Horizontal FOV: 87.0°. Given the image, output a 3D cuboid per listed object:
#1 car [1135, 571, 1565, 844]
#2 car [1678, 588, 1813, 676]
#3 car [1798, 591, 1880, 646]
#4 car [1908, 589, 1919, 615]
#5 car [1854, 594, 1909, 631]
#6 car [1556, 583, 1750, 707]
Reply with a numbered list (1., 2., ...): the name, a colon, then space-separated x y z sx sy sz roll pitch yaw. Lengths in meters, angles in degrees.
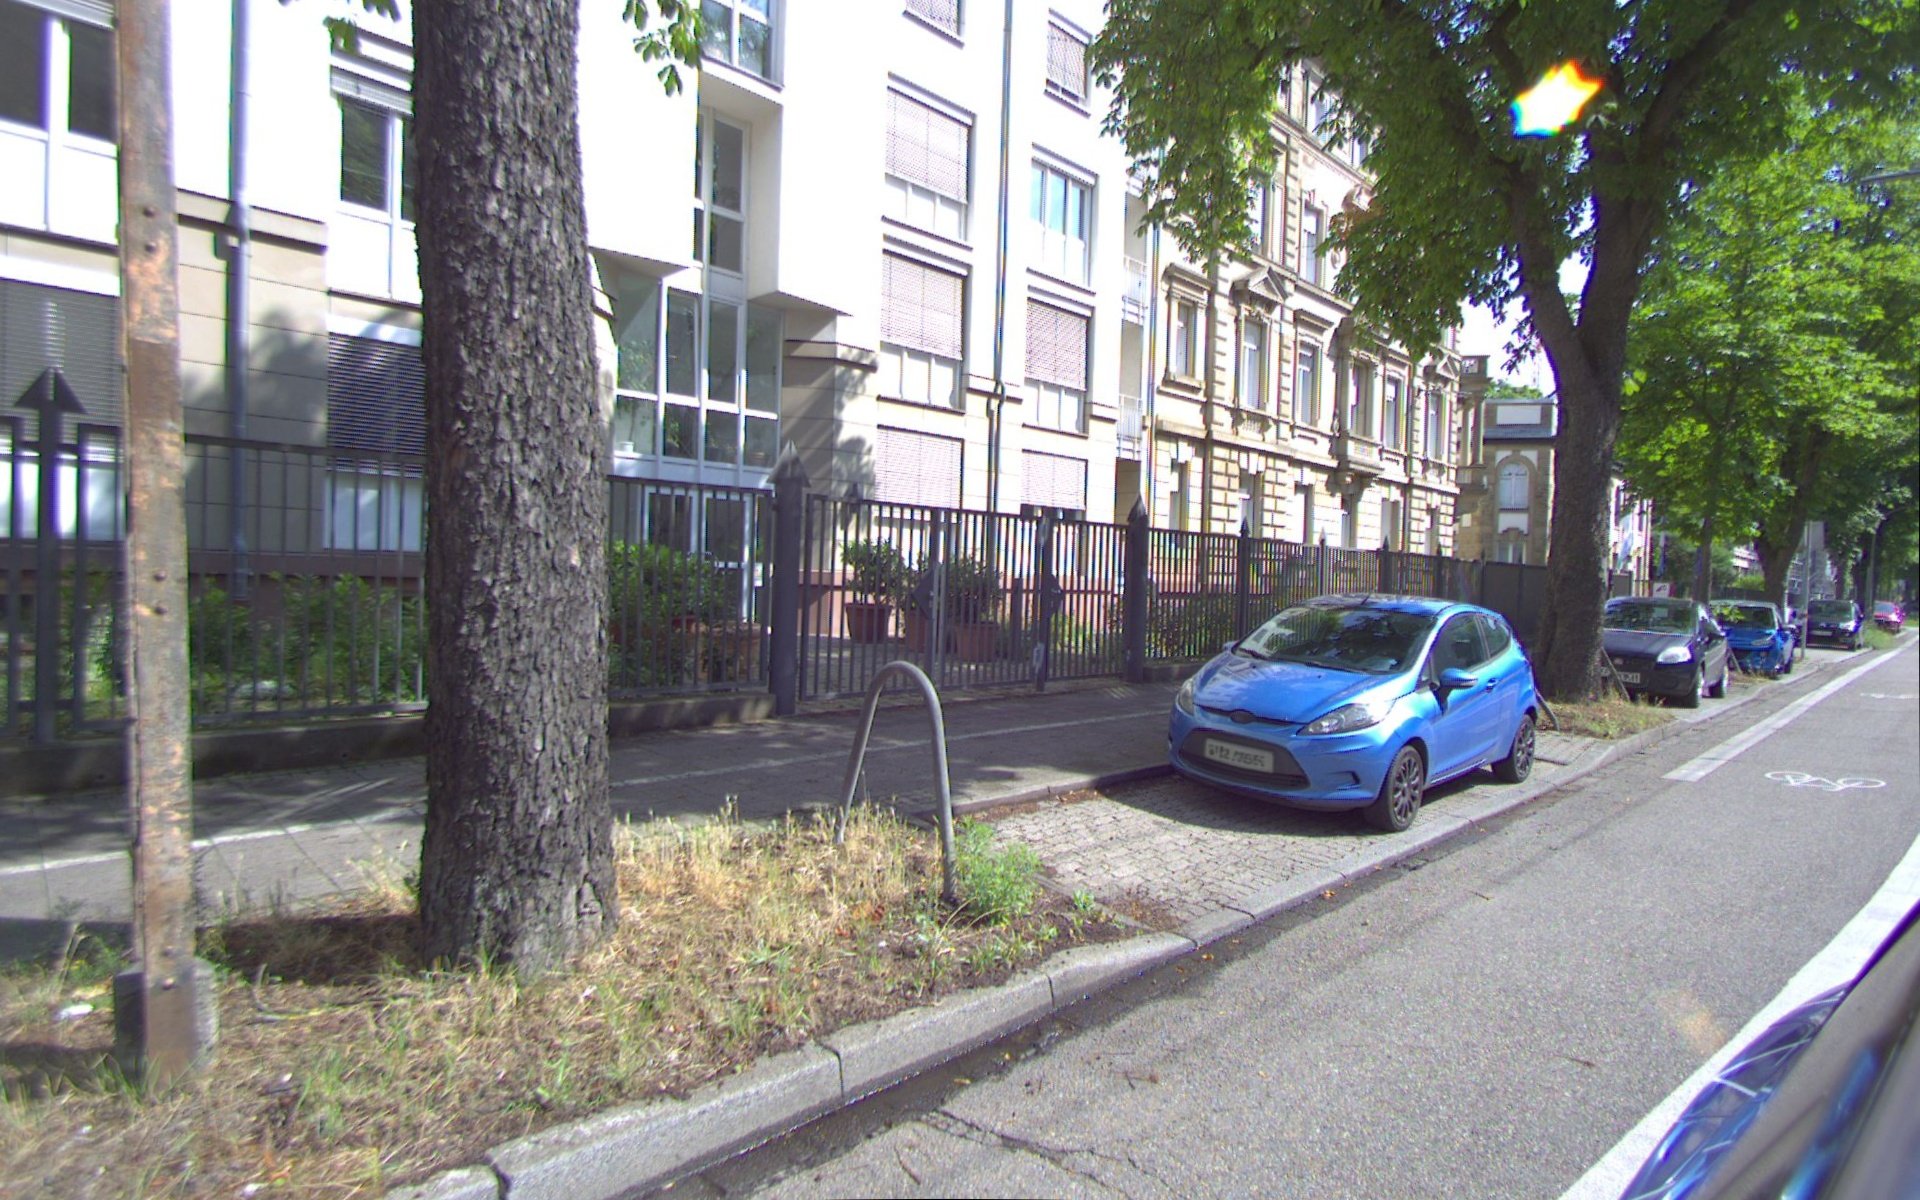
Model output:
1. car: 3.120 0.615 7.747 3.601 1.493 1.644 0 5 -44
2. car: 16.046 0.588 20.622 1.676 1.493 3.602 7 5 44
3. car: 29.086 0.561 33.460 1.741 1.592 3.602 7 5 44
4. car: 62.988 0.171 65.836 1.741 1.592 3.867 7 5 44
5. car: 45.066 0.595 49.481 1.741 1.592 3.867 7 5 44
6. car: 10.287 0.568 14.938 1.676 1.493 3.602 7 5 44
